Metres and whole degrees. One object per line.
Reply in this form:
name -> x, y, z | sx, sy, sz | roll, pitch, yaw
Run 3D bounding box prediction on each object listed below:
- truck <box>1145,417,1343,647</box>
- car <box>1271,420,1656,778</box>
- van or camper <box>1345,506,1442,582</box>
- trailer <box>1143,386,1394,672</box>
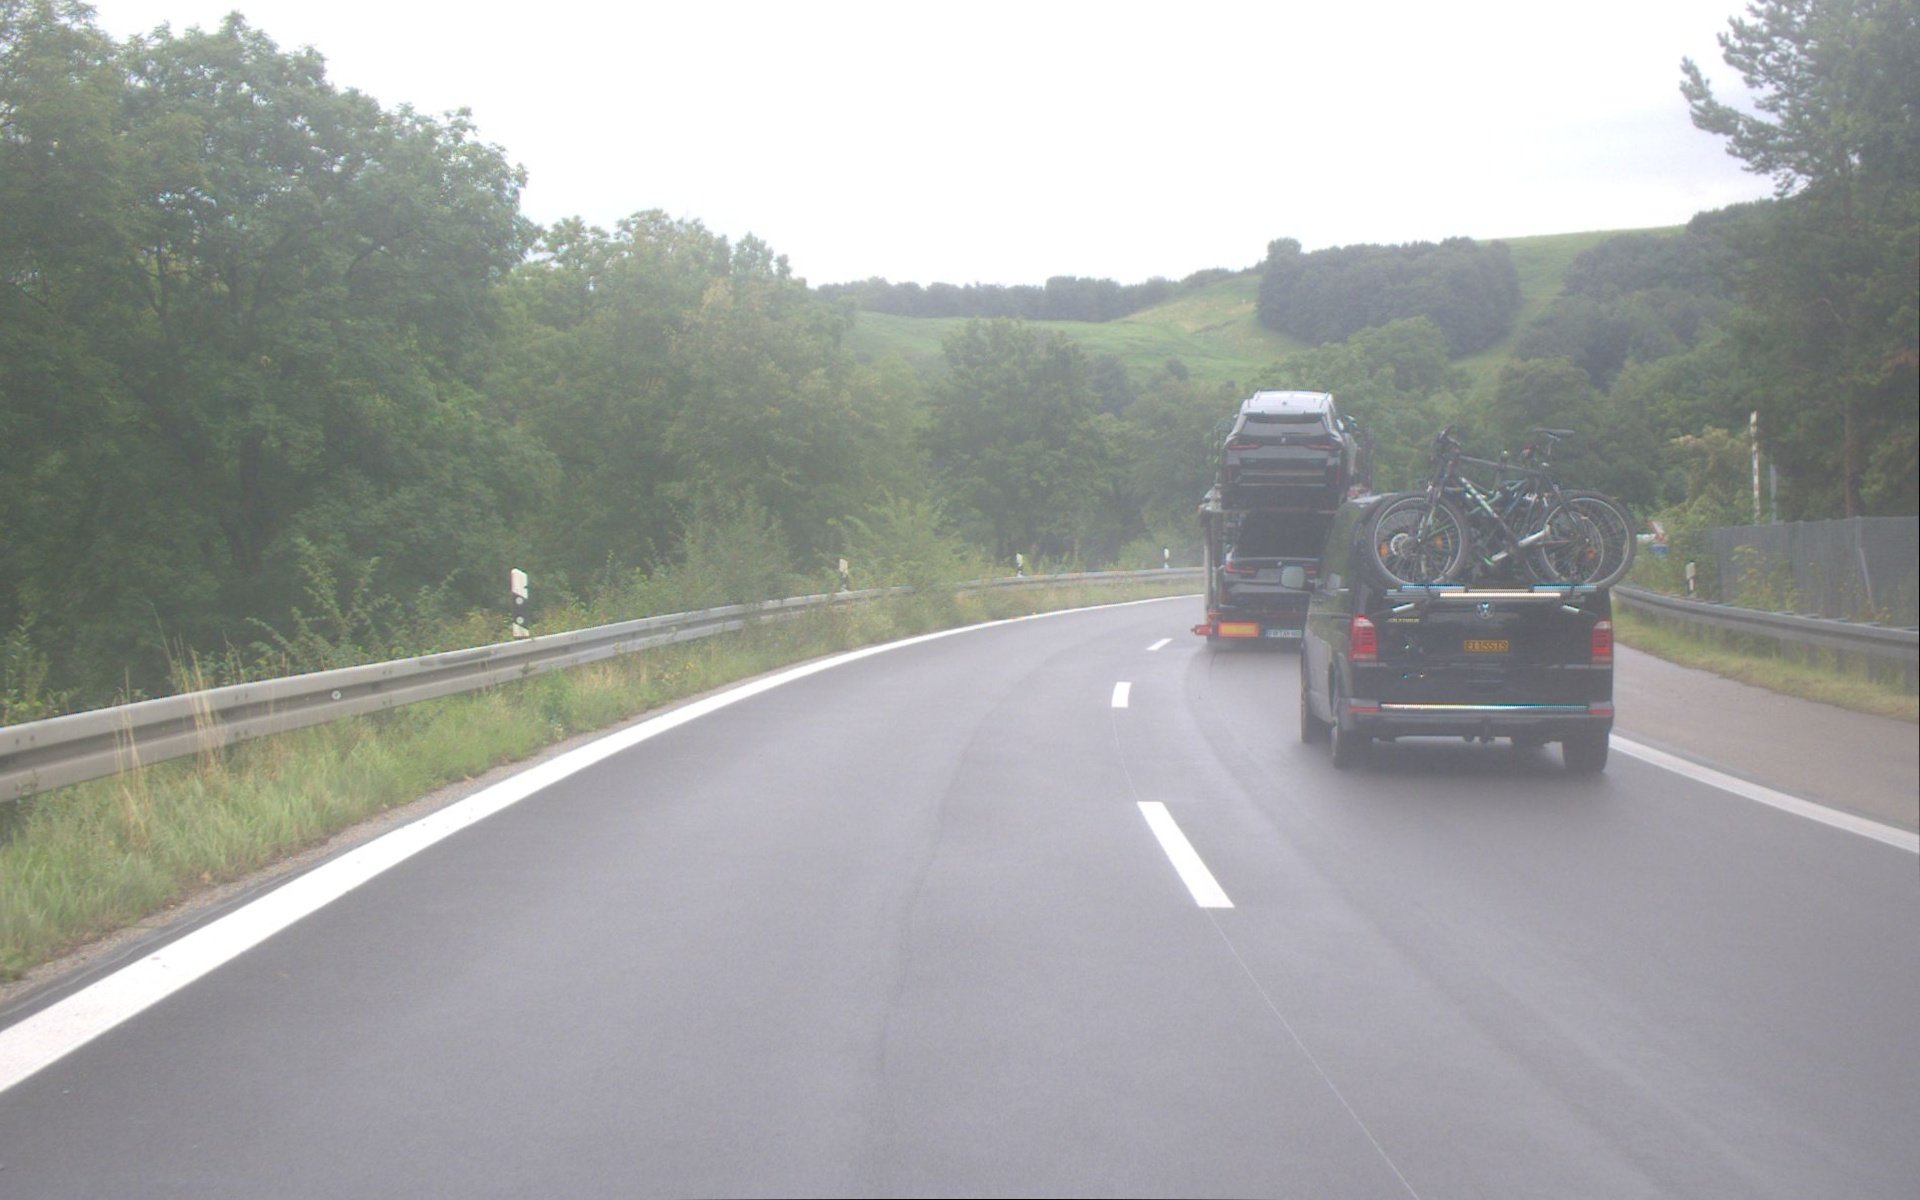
truck -> 5.323, -1.285, 66.286 | 3.395, 3.986, 10.846 | 2, 1, 3
car -> 3.494, -0.067, 24.990 | 2.110, 2.257, 5.896 | 1, 1, 2
van or camper -> 13.229, -1.701, 104.691 | 2.094, 2.224, 4.427 | 1, 1, 18
trailer -> 4.705, -1.104, 54.880 | 3.449, 3.986, 12.026 | 2, 1, 3
